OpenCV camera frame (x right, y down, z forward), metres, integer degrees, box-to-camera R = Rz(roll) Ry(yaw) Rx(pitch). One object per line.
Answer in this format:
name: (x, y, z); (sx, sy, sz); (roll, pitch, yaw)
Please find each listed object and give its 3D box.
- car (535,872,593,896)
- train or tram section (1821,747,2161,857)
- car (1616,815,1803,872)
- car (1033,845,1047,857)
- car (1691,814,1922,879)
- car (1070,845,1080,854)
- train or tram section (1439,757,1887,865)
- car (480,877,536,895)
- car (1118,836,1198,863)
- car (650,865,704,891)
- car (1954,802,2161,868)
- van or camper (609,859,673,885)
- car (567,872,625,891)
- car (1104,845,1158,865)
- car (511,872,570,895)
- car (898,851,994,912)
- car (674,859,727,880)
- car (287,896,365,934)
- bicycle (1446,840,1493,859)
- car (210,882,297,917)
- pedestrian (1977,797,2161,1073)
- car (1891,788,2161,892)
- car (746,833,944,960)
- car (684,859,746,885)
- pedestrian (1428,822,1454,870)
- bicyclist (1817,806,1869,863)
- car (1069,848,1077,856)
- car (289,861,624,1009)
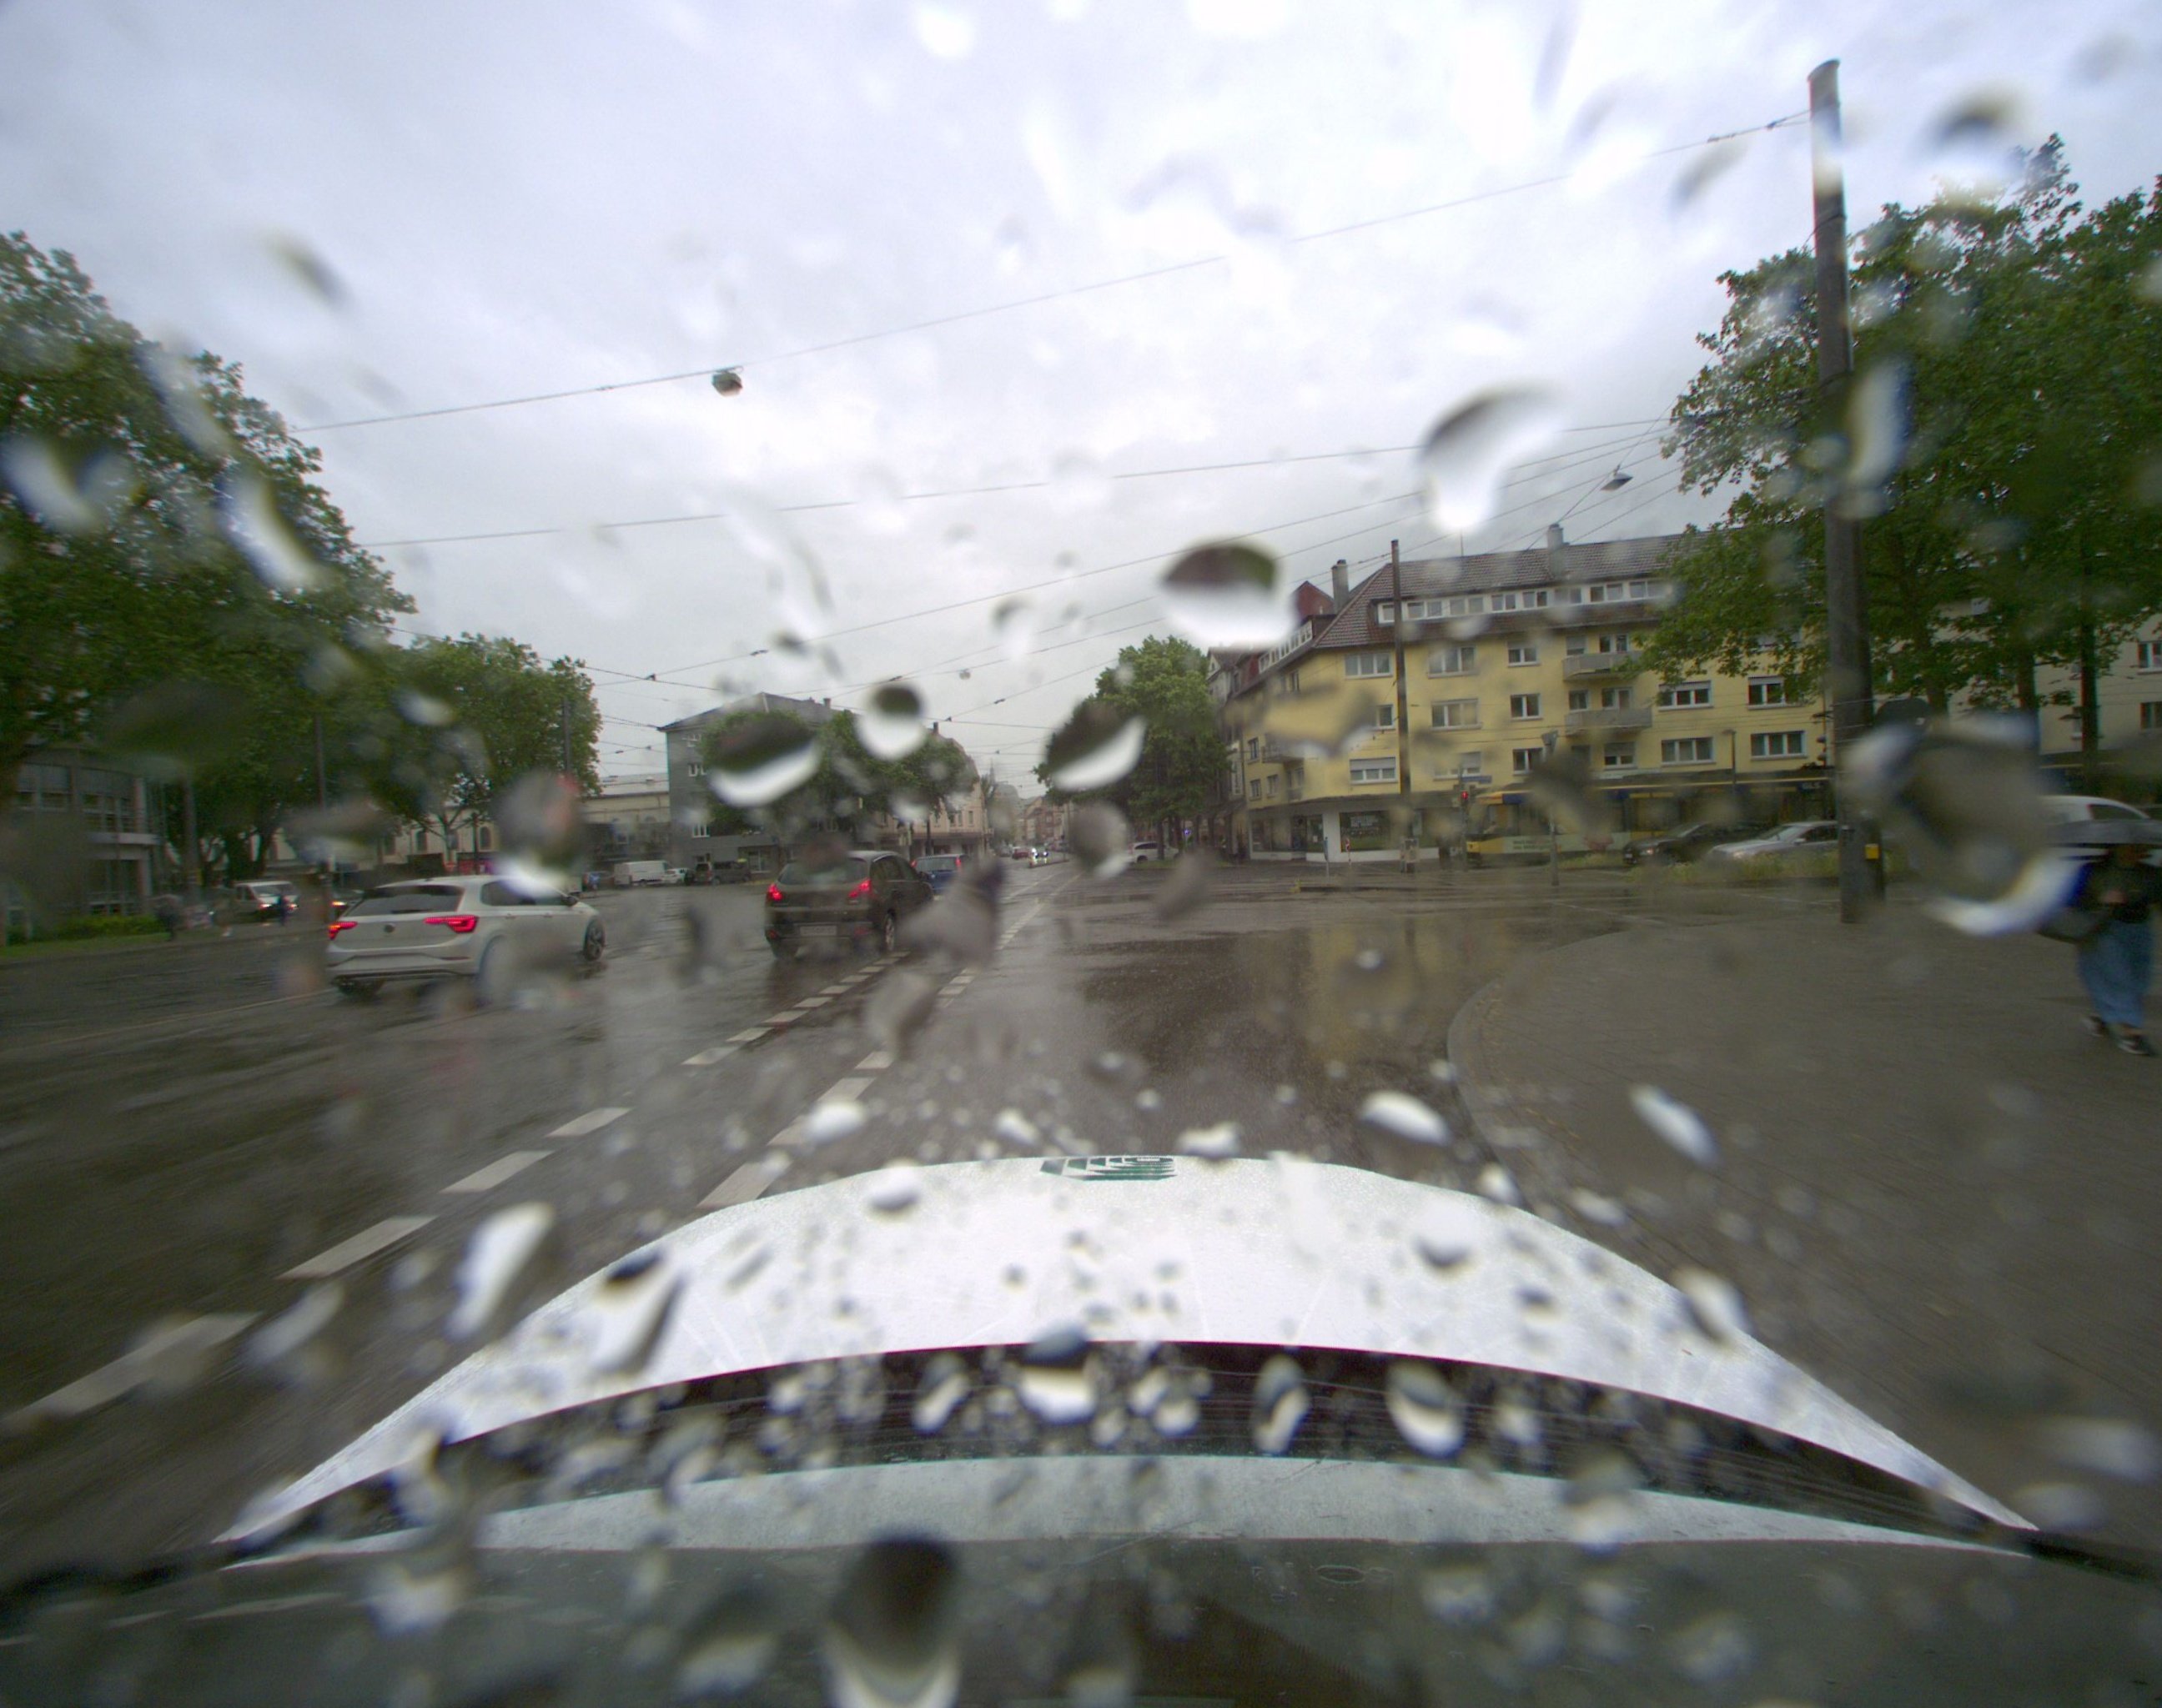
car: (-46.986, 2.688, 74.047); (1.975, 2.014, 4.024); (-1, -1, 27)
train or tram section: (36.415, -1.900, 29.762); (14.540, 3.558, 3.124); (-1, 1, 9)
car: (19.524, -0.333, 25.472); (4.249, 1.501, 1.883); (-3, 1, 5)
car: (-6.073, -0.409, 121.549); (1.990, 1.688, 3.994); (-1, -1, -4)
car: (19.708, -0.214, 22.306); (4.458, 1.489, 1.745); (-3, 1, 10)
car: (-1.057, -0.772, 141.479); (1.472, 1.363, 3.458); (-1, -1, -2)
train or tram section: (22.154, -1.560, 32.006); (14.444, 3.558, 3.124); (-1, 1, 9)
car: (-54.995, 3.049, 78.188); (1.764, 1.656, 4.024); (-1, -1, 27)
car: (5.162, -0.313, 54.795); (4.976, 1.474, 1.992); (-4, 1, -12)
car: (-34.998, 2.063, 70.616); (1.979, 2.013, 4.015); (-2, 1, 14)
car: (26.765, -0.521, 21.677); (4.595, 1.485, 1.868); (-3, 1, 10)
van or camper: (-38.050, 1.536, 70.535); (1.977, 2.075, 4.678); (-2, 0, 20)
car: (-42.976, 2.437, 72.310); (1.976, 1.614, 4.021); (-2, -2, 22)
car: (4.596, 0.052, 74.787); (4.542, 1.556, 2.010); (-3, 1, 19)
car: (-49.678, 2.697, 74.956); (1.974, 1.928, 4.026); (-1, 1, 31)
car: (-3.542, 0.748, 22.026); (1.876, 1.459, 3.831); (-2, -2, 0)
car: (-32.825, 1.333, 70.376); (1.907, 1.618, 4.015); (-2, 1, 14)
car: (-40.202, 3.204, 43.334); (3.949, 1.771, 1.815); (-2, 2, 29)
bicycle: (19.808, -0.242, 41.564); (2.026, 0.897, 0.616); (-2, 0, 11)
car: (-46.415, 2.567, 45.692); (3.951, 1.771, 2.016); (-2, 0, 23)
pedestrian: (6.770, 0.477, 5.363); (1.092, 1.666, 1.004); (-1, 1, 44)
car: (18.604, -0.294, 15.695); (4.085, 1.797, 1.911); (-2, 1, 1)
car: (-3.625, 0.556, 13.383); (1.794, 1.709, 4.194); (-2, 1, 3)
car: (-30.502, 1.480, 68.005); (2.041, 2.013, 4.424); (-1, 1, 27)
pedestrian: (13.174, -0.292, 29.802); (0.805, 1.677, 1.022); (-2, 0, 23)
bicyclist: (23.443, -0.600, 25.065); (0.882, 1.716, 0.716); (-1, 0, 7)
car: (-1.464, -0.385, 148.140); (1.472, 1.363, 3.458); (-1, -1, -2)
car: (-8.346, 0.942, 11.476); (1.805, 1.536, 4.180); (-3, 1, -7)
